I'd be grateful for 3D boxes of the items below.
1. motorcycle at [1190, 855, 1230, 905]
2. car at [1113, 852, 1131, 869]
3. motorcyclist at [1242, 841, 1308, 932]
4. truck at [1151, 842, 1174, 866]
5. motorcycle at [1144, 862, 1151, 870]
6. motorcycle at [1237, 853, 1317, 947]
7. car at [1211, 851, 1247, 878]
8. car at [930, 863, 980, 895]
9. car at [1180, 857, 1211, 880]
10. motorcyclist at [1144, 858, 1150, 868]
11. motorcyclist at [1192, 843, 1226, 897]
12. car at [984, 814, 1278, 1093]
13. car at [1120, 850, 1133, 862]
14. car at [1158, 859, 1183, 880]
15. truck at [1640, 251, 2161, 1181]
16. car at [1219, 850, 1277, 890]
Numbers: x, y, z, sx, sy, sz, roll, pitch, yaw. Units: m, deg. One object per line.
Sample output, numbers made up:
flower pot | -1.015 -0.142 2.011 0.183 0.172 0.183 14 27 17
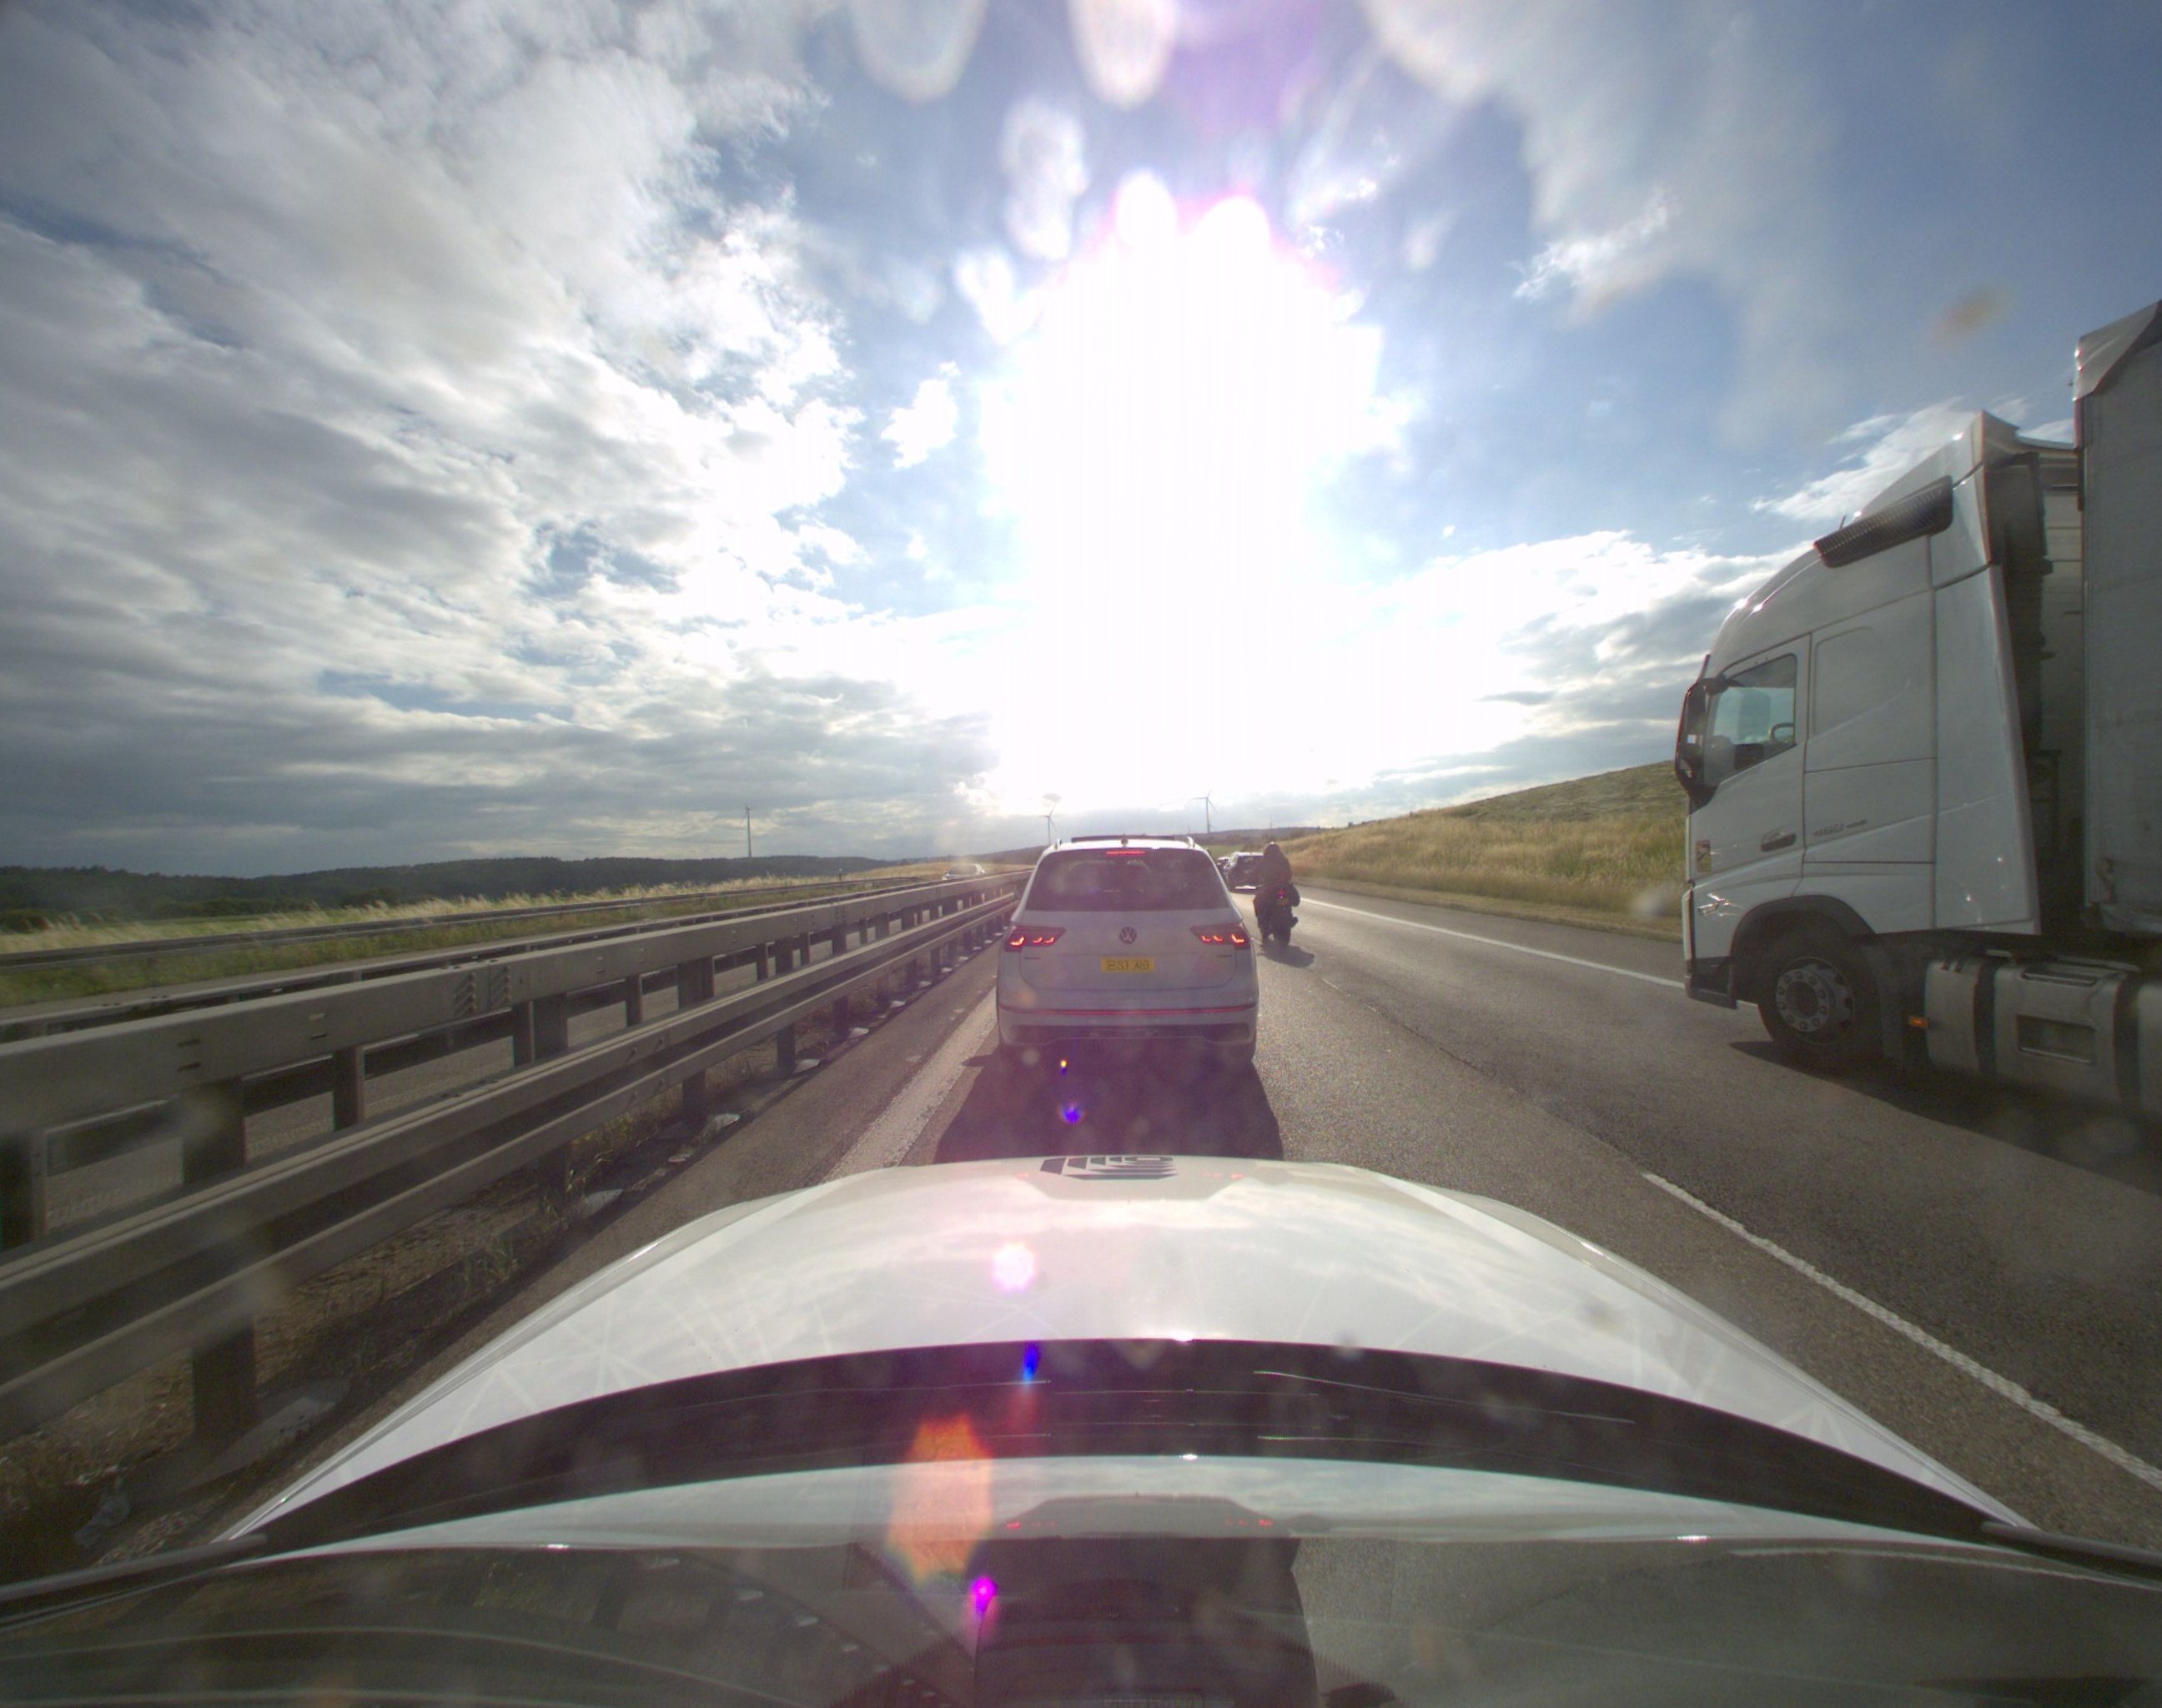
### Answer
motorcycle | 4.006 0.783 25.444 0.892 1.455 2.270 -1 -1 1
car | 4.028 0.661 80.297 1.697 1.650 4.001 -1 -1 2
motorcyclist | 3.256 0.531 13.730 0.892 1.456 0.892 -1 -1 1
truck | 12.924 -0.030 129.880 3.170 3.594 11.142 -1 0 4
motorcycle | 10.216 1.774 125.144 0.892 1.190 2.257 -1 -1 1
motorcycle | 3.262 0.733 13.746 0.892 1.455 1.983 -1 -1 1
car | 8.265 0.561 45.666 1.598 1.420 3.676 -1 -1 4
car | -6.229 1.234 40.777 1.726 1.485 4.001 -1 -1 2
car | 8.117 1.006 57.977 1.697 1.546 4.001 -1 -1 2
motorcyclist | 10.208 1.343 125.105 0.846 1.560 0.934 -1 -1 1
motorcyclist | 3.996 0.500 25.429 0.892 1.617 1.022 -1 -1 1
car | 0.368 0.630 6.989 1.763 1.675 4.001 -1 -1 2
car | 6.160 0.287 110.080 1.697 1.546 4.001 -1 -1 2
car | 7.363 1.242 67.268 1.697 1.650 4.001 -1 -1 2
truck | 6.006 -0.609 3.804 2.592 4.040 6.120 -1 0 1
car | 7.223 0.680 35.558 1.814 1.601 4.236 0 -1 2
